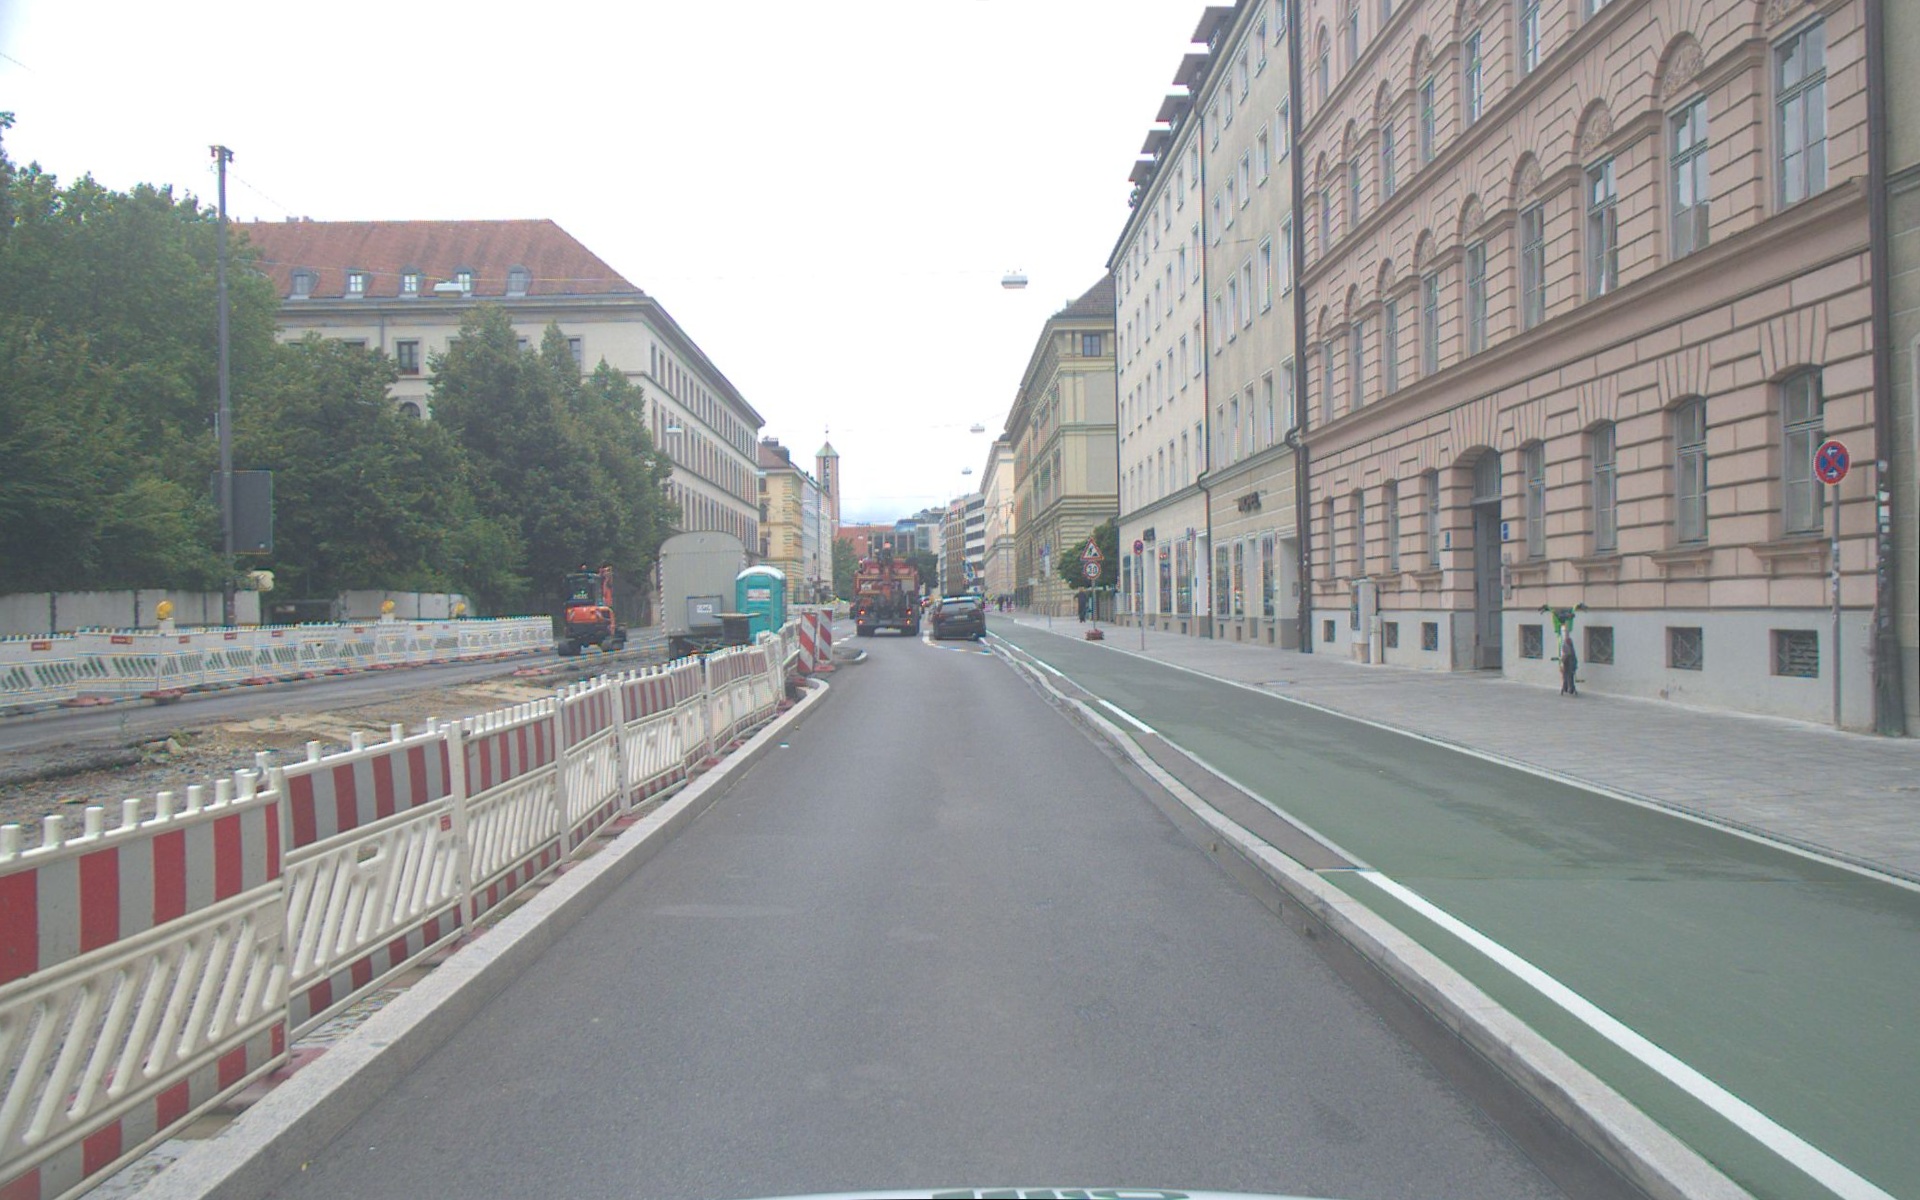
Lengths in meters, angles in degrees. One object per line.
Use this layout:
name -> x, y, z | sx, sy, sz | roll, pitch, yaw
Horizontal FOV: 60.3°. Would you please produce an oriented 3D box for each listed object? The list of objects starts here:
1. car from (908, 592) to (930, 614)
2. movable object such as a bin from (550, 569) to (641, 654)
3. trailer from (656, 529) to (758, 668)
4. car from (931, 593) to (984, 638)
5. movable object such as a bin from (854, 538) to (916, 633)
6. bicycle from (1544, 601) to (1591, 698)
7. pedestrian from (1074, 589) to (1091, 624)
car -> -2.940, 0.207, 119.729 | 1.577, 1.521, 3.423 | -1, 0, -1
movable object such as a bin -> -11.663, 0.331, 53.187 | 1.884, 2.617, 4.492 | 0, 1, 0
trailer -> -6.539, -0.062, 43.574 | 2.184, 3.300, 7.510 | -1, 0, -6
car -> -0.134, 0.540, 60.915 | 1.765, 1.506, 4.685 | -2, 0, -2
movable object such as a bin -> -3.043, -0.567, 67.585 | 2.374, 3.674, 5.849 | -1, 0, -2
bicycle -> 7.970, 0.628, 21.730 | 0.417, 1.194, 1.733 | -2, 0, 16
pedestrian -> 6.520, 0.336, 88.048 | 0.774, 1.868, 0.777 | -1, 0, 0
